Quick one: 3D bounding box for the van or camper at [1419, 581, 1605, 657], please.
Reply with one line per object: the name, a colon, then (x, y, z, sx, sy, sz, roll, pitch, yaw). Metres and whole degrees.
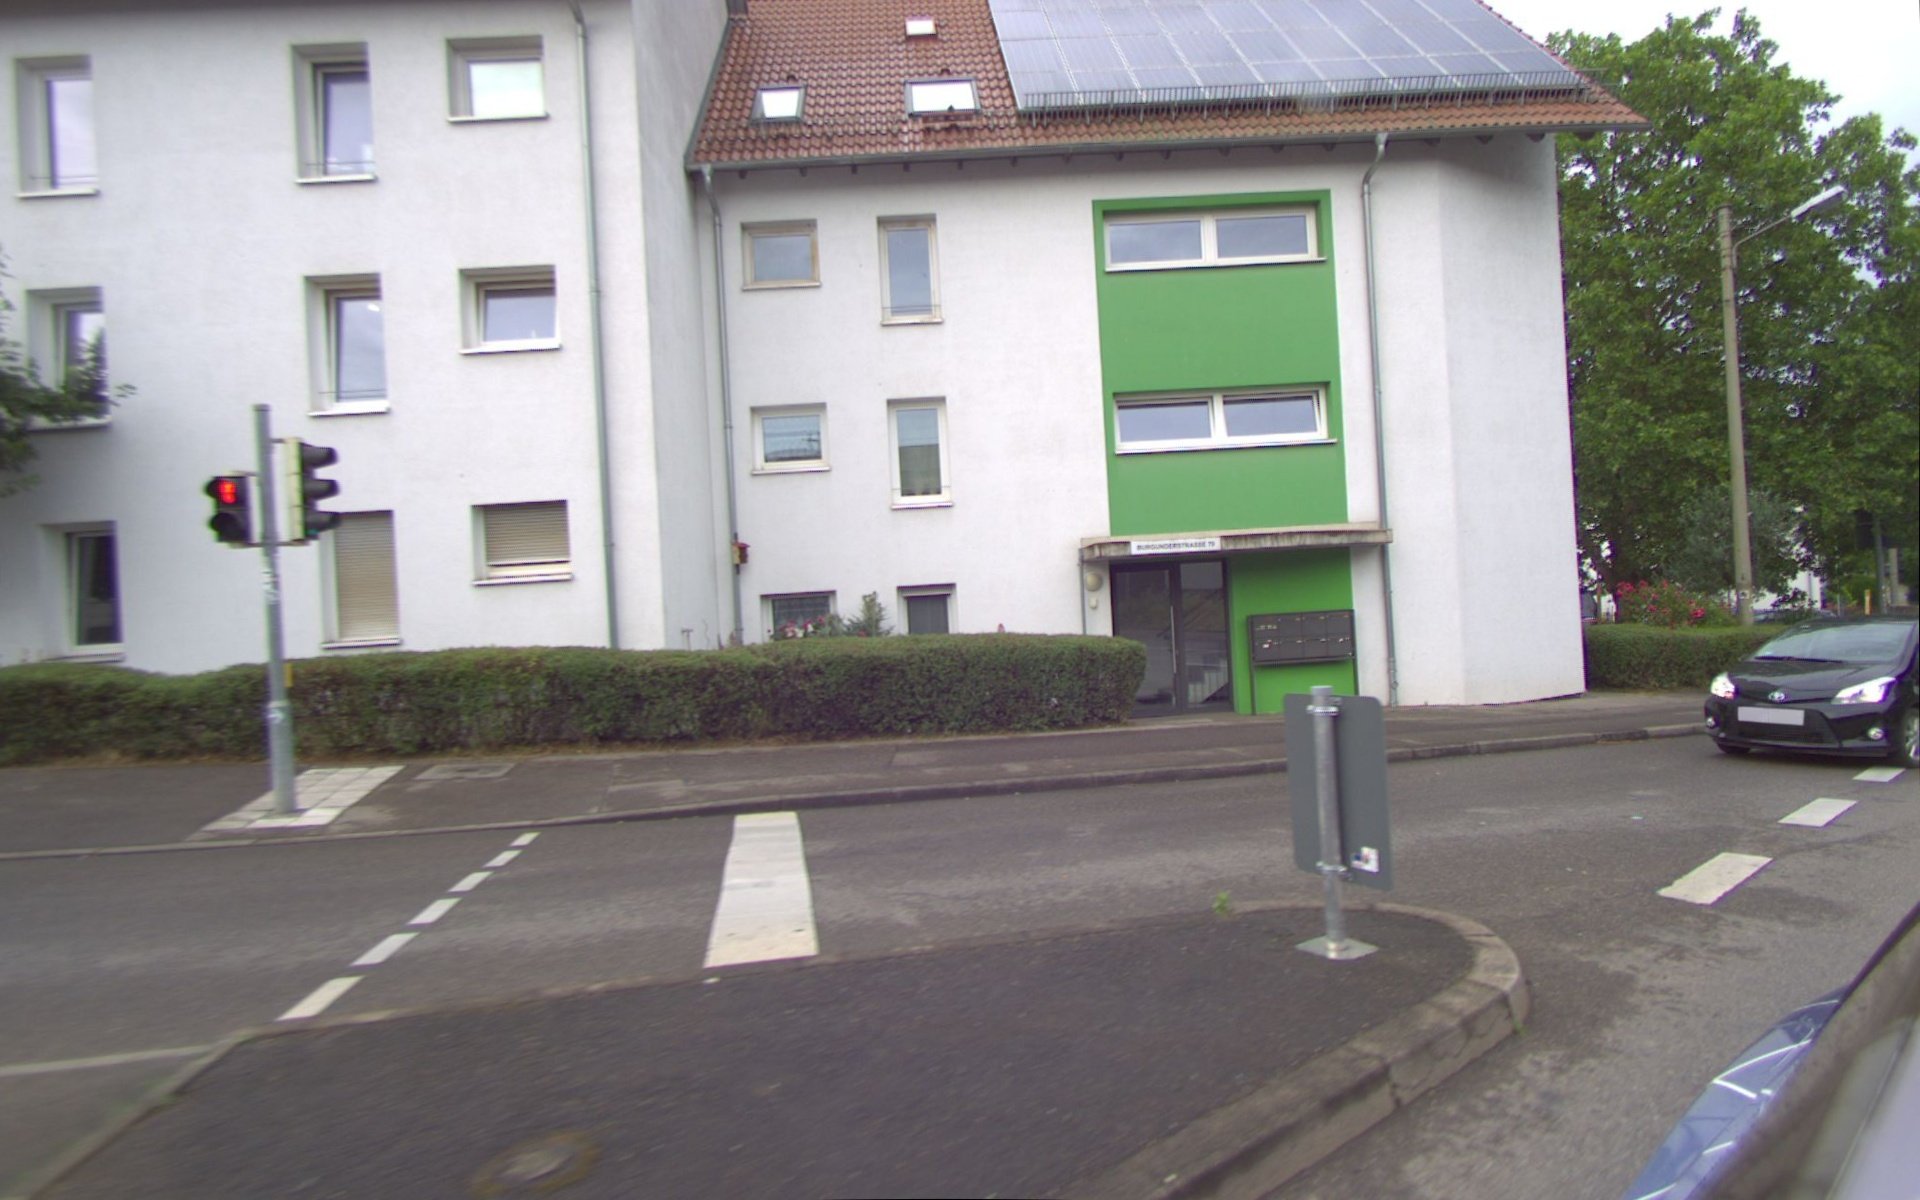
van or camper: (15.067, 0.555, 27.779, 4.291, 1.928, 1.978, -2, -2, 31)

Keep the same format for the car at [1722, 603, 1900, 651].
car: (29.418, 0.946, 35.200, 4.355, 1.533, 1.978, -2, -2, 30)

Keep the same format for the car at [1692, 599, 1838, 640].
car: (30.120, 0.739, 38.030, 3.964, 1.483, 1.842, -1, -1, 30)

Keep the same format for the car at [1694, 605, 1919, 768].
car: (9.937, 0.818, 10.808, 3.917, 1.477, 1.647, 0, -3, -25)
